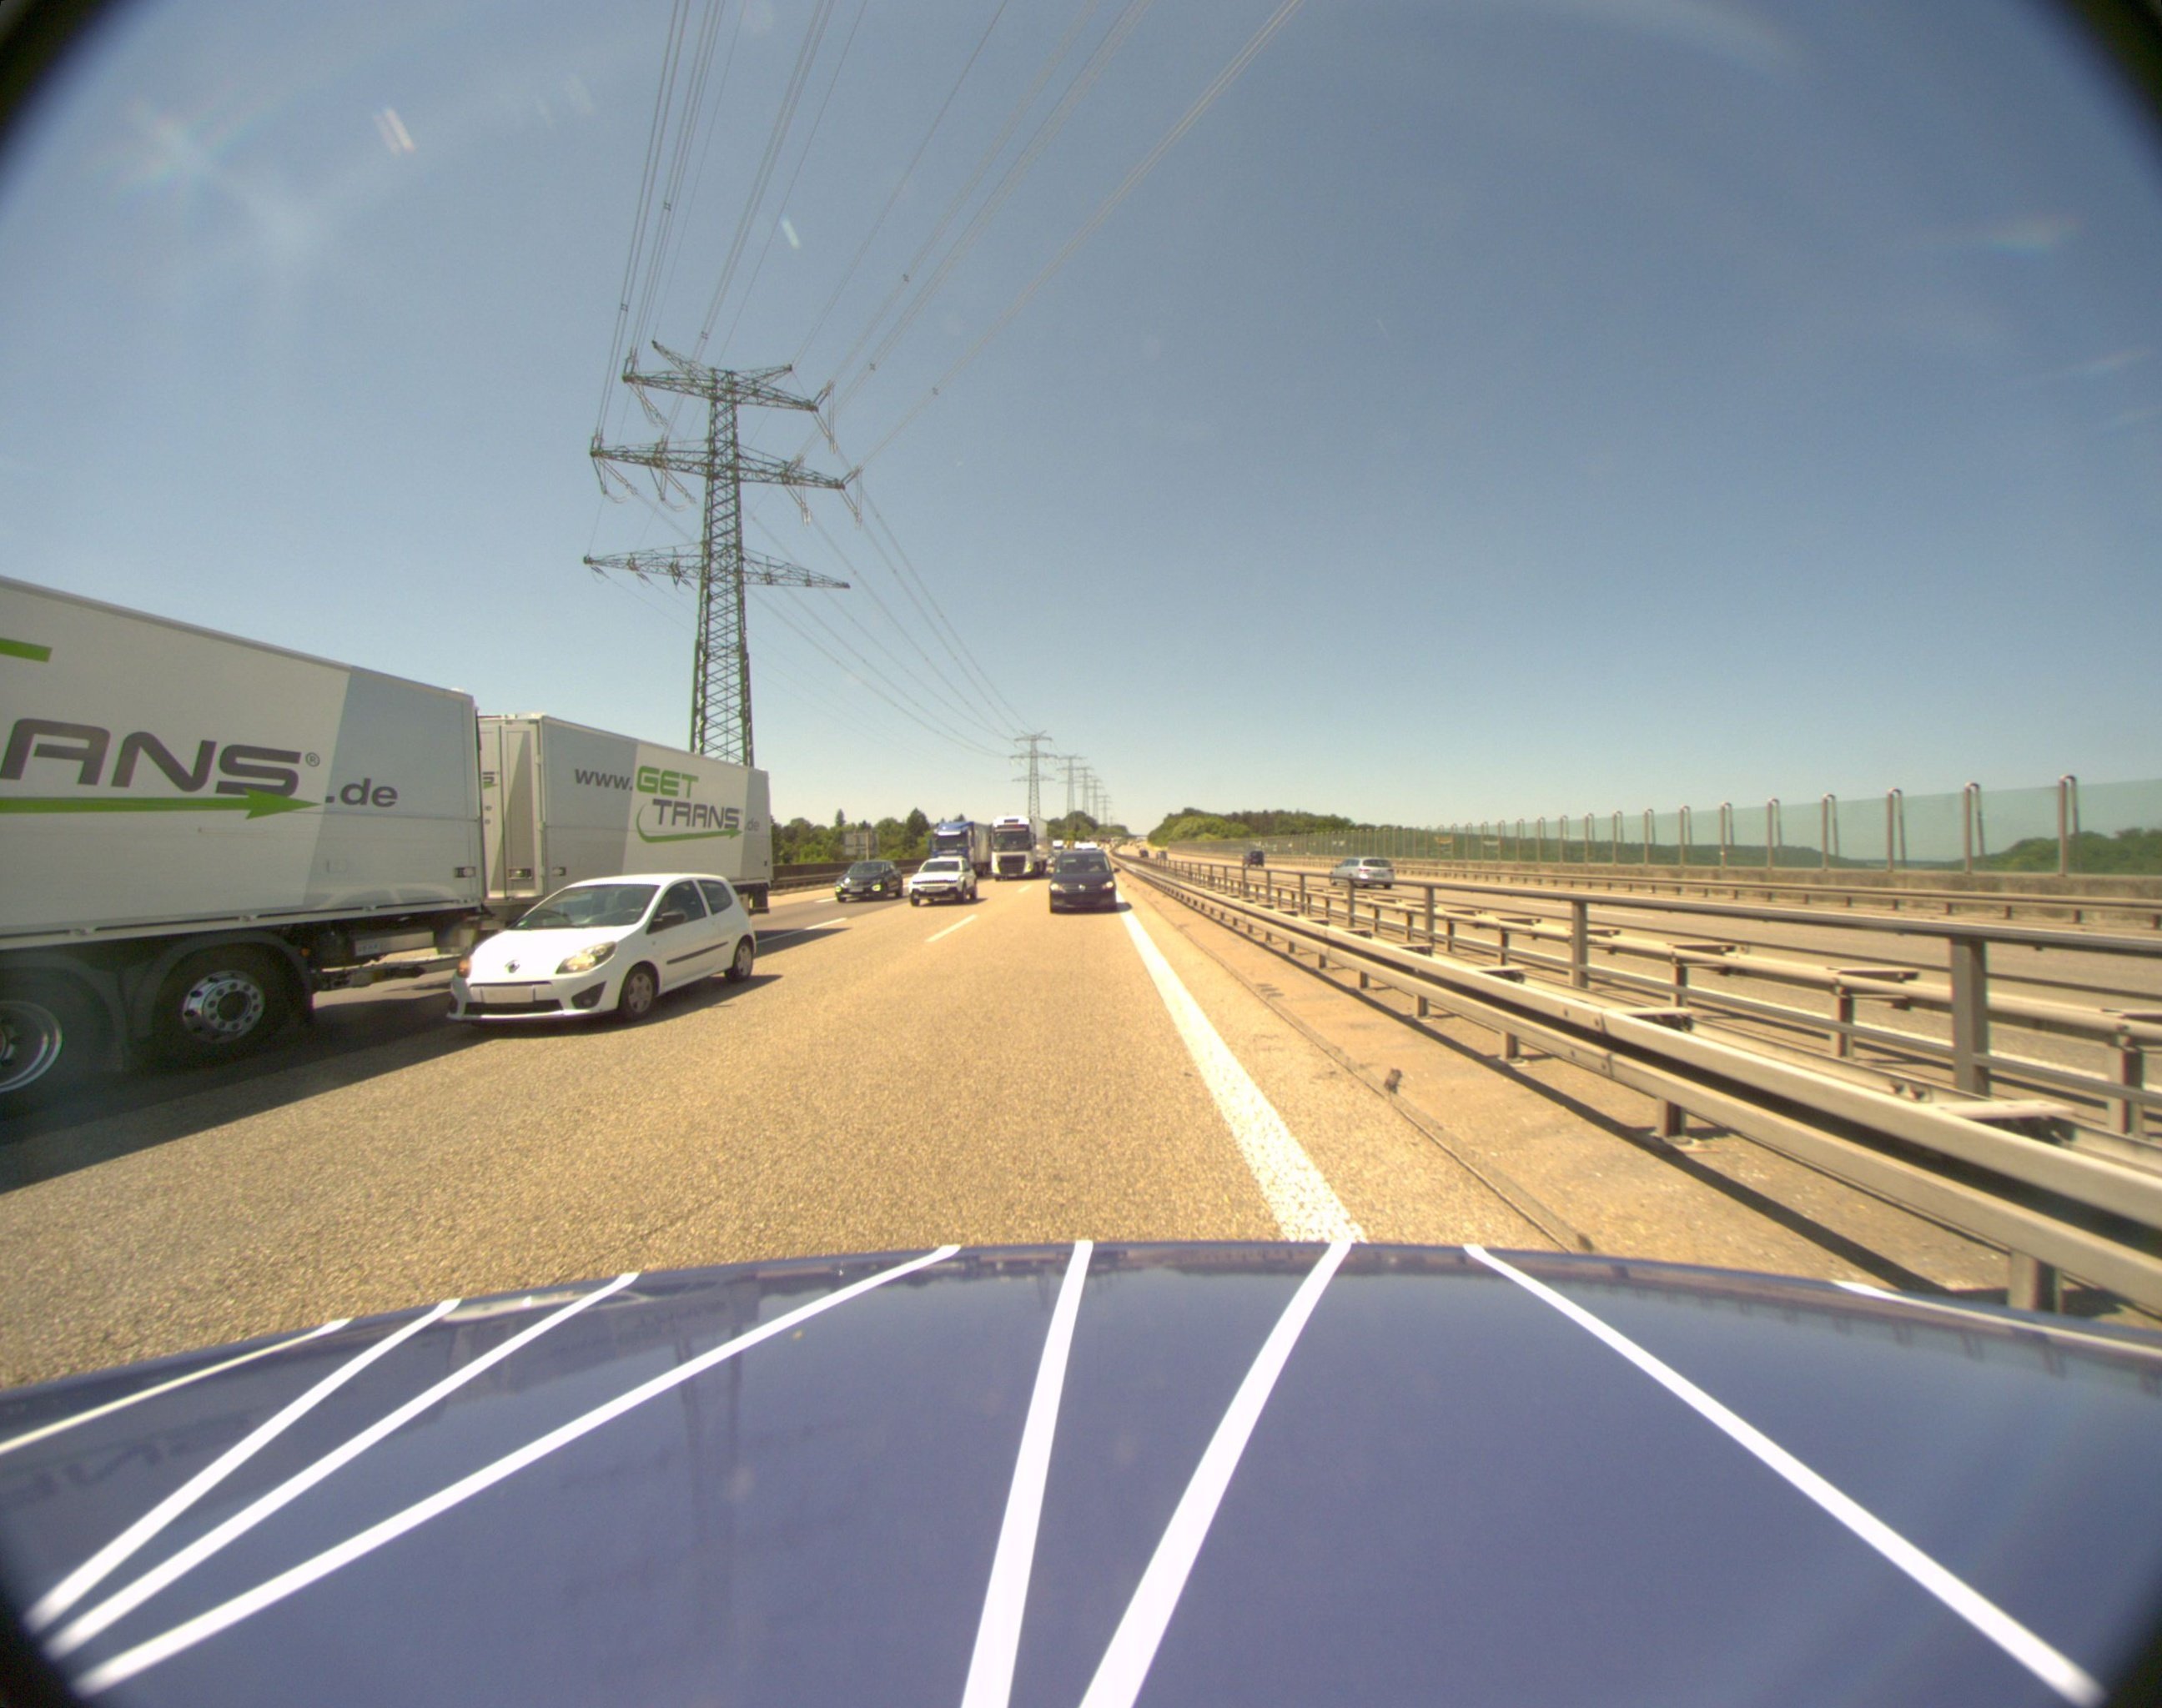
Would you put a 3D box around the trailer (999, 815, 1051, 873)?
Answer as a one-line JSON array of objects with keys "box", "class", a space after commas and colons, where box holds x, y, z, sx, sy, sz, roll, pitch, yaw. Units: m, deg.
[{"box": [-4.000, -0.769, 56.887, 2.898, 3.847, 9.773, -2, 1, 1], "class": "trailer"}]

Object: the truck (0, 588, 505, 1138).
[{"box": [-8.473, 0.099, 3.770, 2.858, 3.581, 10.768, -2, 0, 0], "class": "truck"}]

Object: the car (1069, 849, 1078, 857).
[{"box": [-1.478, -0.168, 152.888, 1.701, 1.599, 3.639, -2, 1, 1], "class": "car"}]

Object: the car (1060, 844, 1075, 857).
[{"box": [-2.120, -0.603, 120.713, 1.998, 2.002, 4.000, -2, 1, 1], "class": "car"}]

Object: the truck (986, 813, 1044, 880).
[{"box": [-4.099, -0.473, 48.639, 2.914, 3.870, 6.739, -2, 1, 0], "class": "truck"}]

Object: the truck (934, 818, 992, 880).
[{"box": [-8.174, -0.321, 53.493, 2.517, 3.945, 7.927, -2, 0, 1], "class": "truck"}]

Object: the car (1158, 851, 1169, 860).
[{"box": [15.373, 0.336, 141.737, 1.759, 1.538, 3.999, 1, 1, 1], "class": "car"}]

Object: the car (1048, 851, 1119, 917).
[{"box": [0.071, 0.744, 21.092, 1.739, 1.607, 3.911, -2, 0, 0], "class": "car"}]

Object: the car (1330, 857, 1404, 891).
[{"box": [13.222, 0.879, 35.408, 1.915, 1.386, 4.164, 0, 1, 1], "class": "car"}]

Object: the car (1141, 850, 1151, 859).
[{"box": [13.379, 0.054, 156.010, 1.759, 1.711, 4.101, 0, 0, 1], "class": "car"}]

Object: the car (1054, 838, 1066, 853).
[{"box": [-4.899, -1.999, 178.138, 2.273, 3.304, 6.288, -2, 1, 0], "class": "car"}]

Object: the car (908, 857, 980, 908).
[{"box": [-4.596, 0.913, 25.950, 1.722, 1.526, 3.753, -2, 0, 0], "class": "car"}]

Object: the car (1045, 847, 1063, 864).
[{"box": [-2.948, 0.160, 82.638, 1.672, 1.761, 3.846, -2, 1, 1], "class": "car"}]

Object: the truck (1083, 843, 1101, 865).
[{"box": [1.454, -0.045, 95.266, 2.100, 2.700, 5.864, -2, 1, 1], "class": "truck"}]

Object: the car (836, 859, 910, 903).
[{"box": [-8.015, 0.990, 29.623, 1.709, 1.497, 3.888, -2, 0, 1], "class": "car"}]

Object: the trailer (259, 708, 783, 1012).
[{"box": [-8.400, 0.062, 13.341, 2.851, 3.573, 8.291, -2, 0, 1], "class": "trailer"}]

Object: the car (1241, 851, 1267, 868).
[{"box": [18.752, 0.571, 82.414, 1.787, 1.774, 4.301, 0, 0, 0], "class": "car"}]

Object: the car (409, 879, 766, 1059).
[{"box": [-5.174, 1.089, 8.619, 1.583, 1.432, 3.629, -2, 0, 1], "class": "car"}]

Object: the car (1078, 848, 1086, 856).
[{"box": [0.301, -0.458, 188.344, 1.890, 2.002, 3.999, -2, 1, 1], "class": "car"}]

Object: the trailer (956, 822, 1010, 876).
[{"box": [-7.910, -0.466, 62.906, 2.543, 3.971, 10.885, -2, 1, 2], "class": "trailer"}]
